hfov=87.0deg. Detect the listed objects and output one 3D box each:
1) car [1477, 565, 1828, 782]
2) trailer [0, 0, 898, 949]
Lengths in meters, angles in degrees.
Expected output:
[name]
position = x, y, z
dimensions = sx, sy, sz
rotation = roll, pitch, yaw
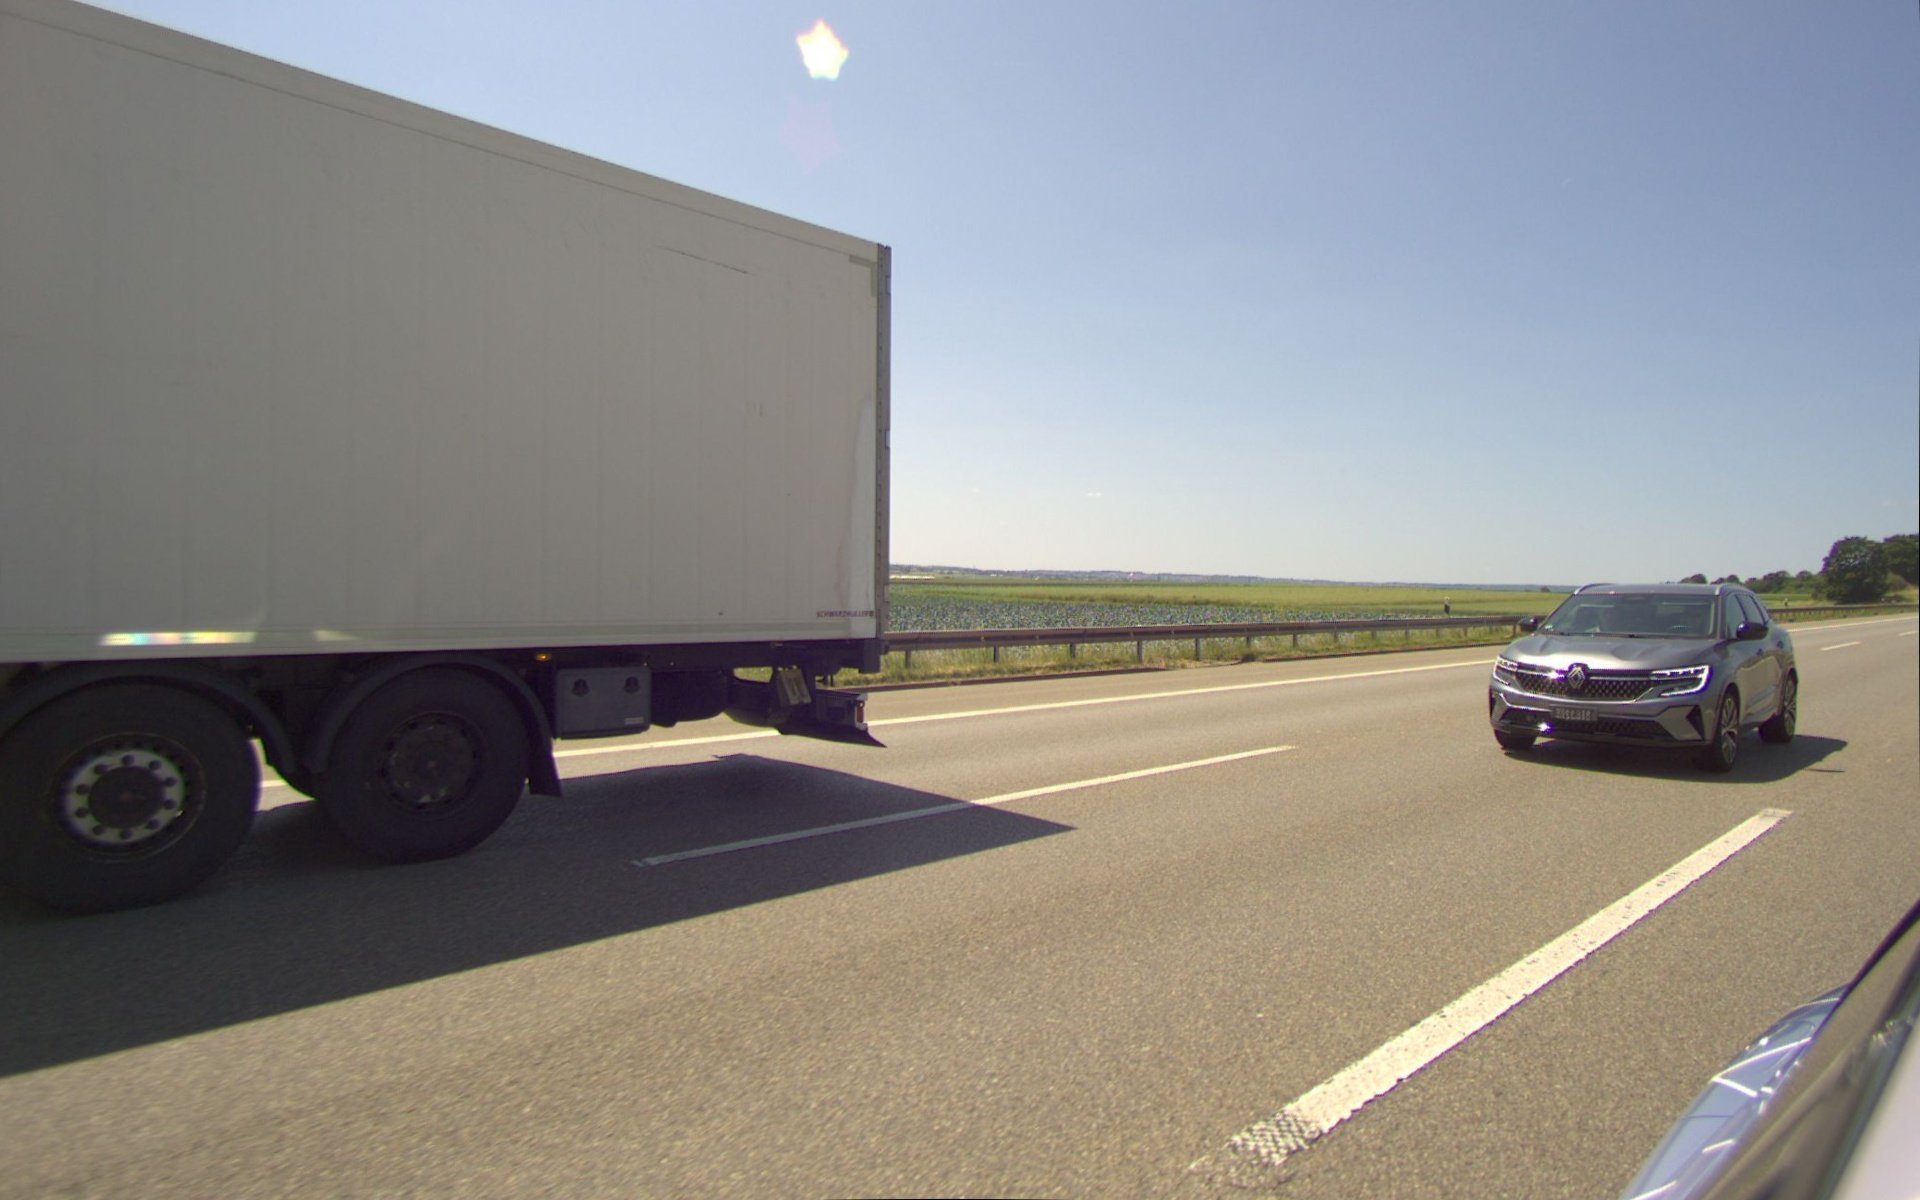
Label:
[car]
position = 6.997, 0.527, 10.016
dimensions = 4.565, 1.669, 1.854
rotation = -1, 1, -42
[trailer]
position = -6.280, -0.701, 3.956
dimensions = 13.064, 4.273, 2.872
rotation = -1, 0, -41
